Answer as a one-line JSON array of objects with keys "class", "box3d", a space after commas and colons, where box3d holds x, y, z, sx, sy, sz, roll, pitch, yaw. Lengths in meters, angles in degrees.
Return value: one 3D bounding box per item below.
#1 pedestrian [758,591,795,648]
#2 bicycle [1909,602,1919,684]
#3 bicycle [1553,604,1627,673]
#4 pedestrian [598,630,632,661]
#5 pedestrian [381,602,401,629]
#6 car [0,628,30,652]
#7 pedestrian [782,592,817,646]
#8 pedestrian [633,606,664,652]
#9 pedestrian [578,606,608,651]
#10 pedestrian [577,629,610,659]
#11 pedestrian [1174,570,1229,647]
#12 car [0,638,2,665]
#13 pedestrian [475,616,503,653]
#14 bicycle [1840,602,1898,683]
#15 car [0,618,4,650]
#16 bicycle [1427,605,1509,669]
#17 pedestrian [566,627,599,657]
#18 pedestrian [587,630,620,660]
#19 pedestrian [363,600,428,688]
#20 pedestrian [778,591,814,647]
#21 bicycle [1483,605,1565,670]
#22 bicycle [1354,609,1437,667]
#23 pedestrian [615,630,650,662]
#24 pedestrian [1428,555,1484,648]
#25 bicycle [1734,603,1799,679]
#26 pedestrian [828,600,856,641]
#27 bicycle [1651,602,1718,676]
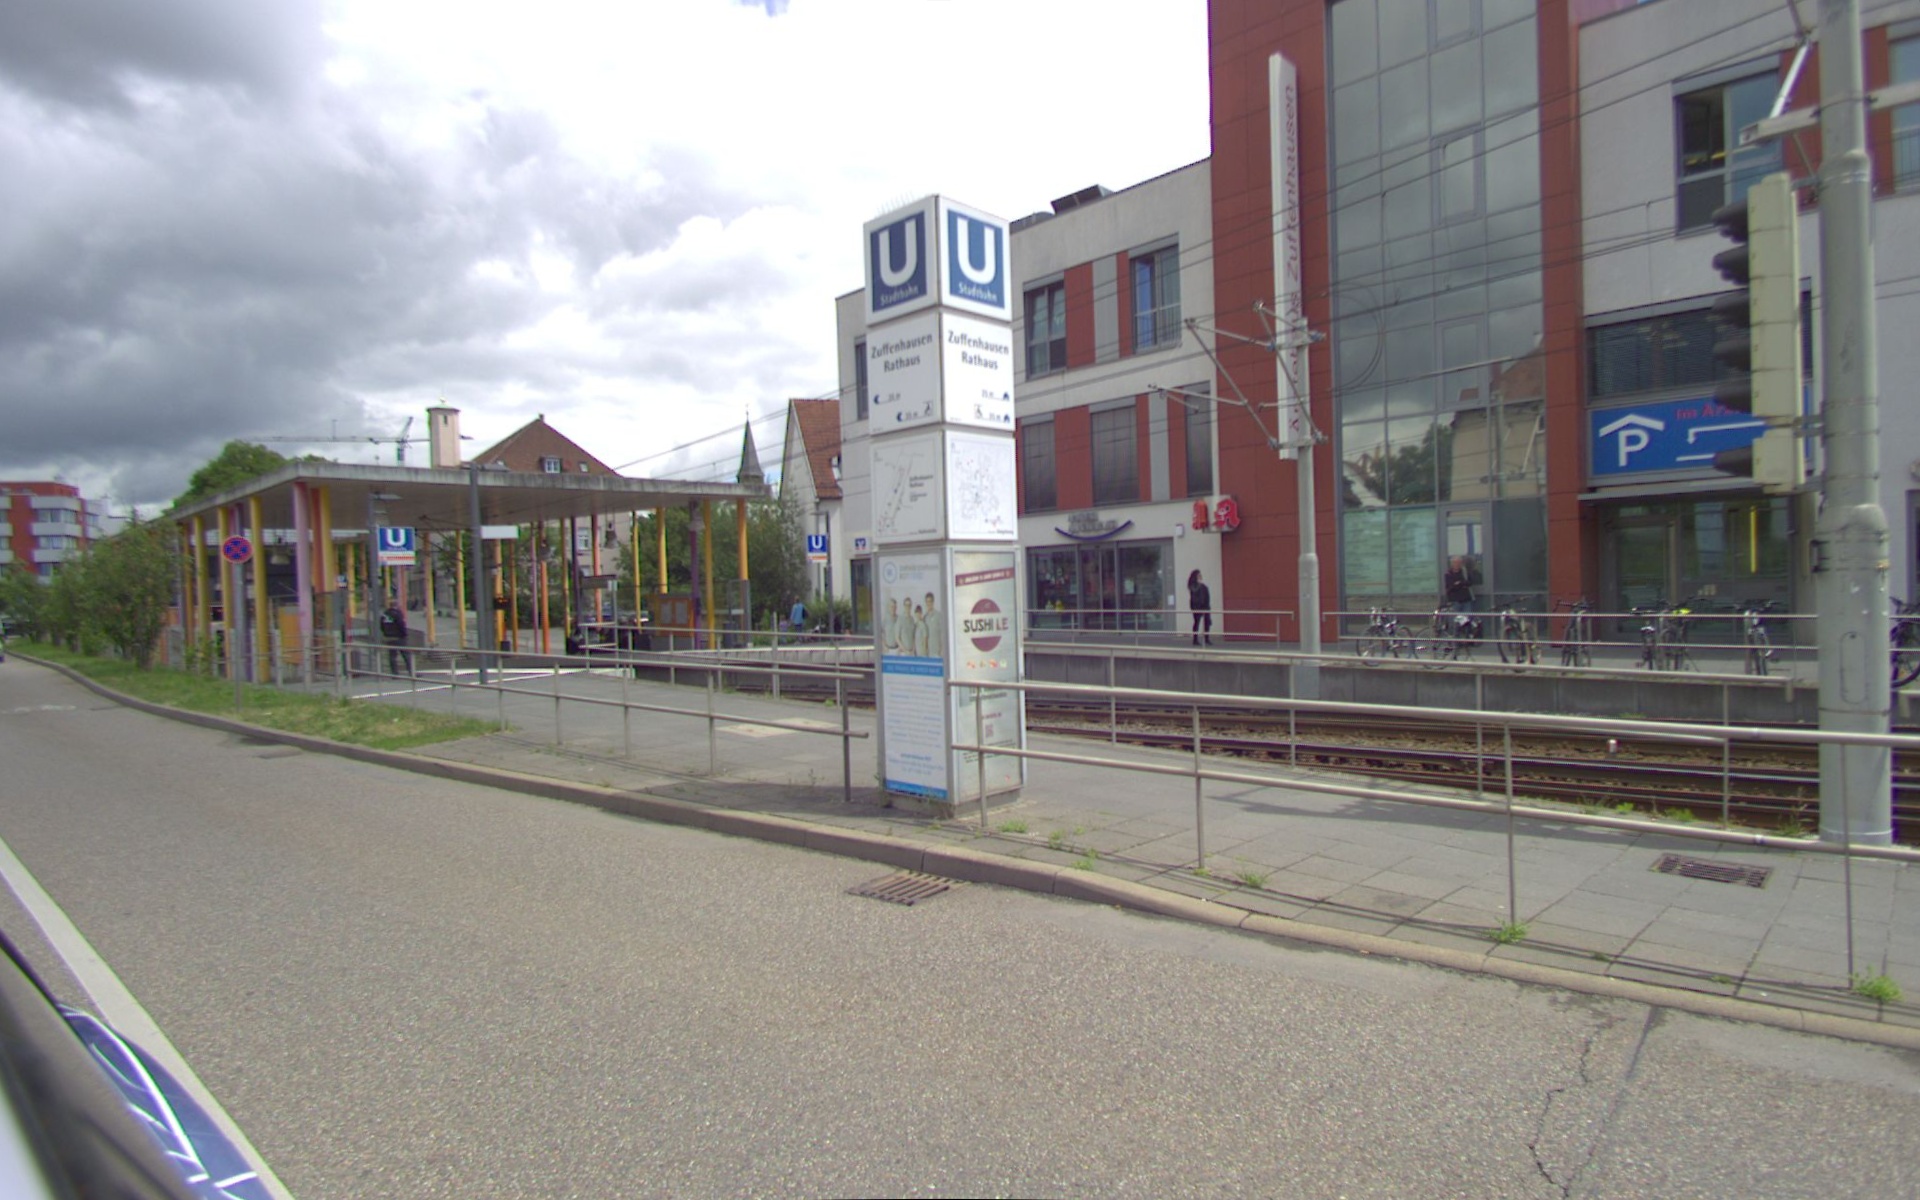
[{"class": "pedestrian", "box3d": [-6.537, 0.672, 35.999, 0.851, 1.983, 1.107, 0, -1, -41]}, {"class": "bicycle", "box3d": [12.373, 0.524, 12.816, 1.715, 0.959, 0.428, -2, 0, -44]}, {"class": "bicycle", "box3d": [9.518, 0.551, 15.263, 1.835, 0.946, 0.455, -2, 0, -42]}, {"class": "pedestrian", "box3d": [-13.153, 1.728, 38.614, 0.930, 1.143, 0.886, -1, -1, -45]}, {"class": "pedestrian", "box3d": [-42.630, 1.161, 75.788, 1.111, 2.029, 0.816, -1, -1, -42]}, {"class": "car", "box3d": [-73.318, 3.109, 78.269, 1.839, 1.719, 4.007, 0, 0, -39]}, {"class": "pedestrian", "box3d": [-6.011, 0.718, 37.892, 0.851, 1.983, 1.107, 0, -1, -41]}, {"class": "pedestrian", "box3d": [-13.690, 1.281, 44.460, 0.852, 1.983, 1.107, 0, -1, -44]}, {"class": "pedestrian", "box3d": [-16.451, 1.282, 45.345, 1.106, 1.983, 0.853, -1, -1, 42]}, {"class": "pedestrian", "box3d": [-14.498, 1.745, 40.030, 0.930, 1.143, 0.886, -1, -1, -45]}, {"class": "pedestrian", "box3d": [5.510, 0.196, 23.107, 0.775, 1.711, 0.938, 0, -1, -33]}, {"class": "car", "box3d": [-38.800, 1.785, 39.697, 3.948, 1.548, 1.567, -1, 3, 44]}, {"class": "pedestrian", "box3d": [-26.257, 1.931, 56.394, 1.111, 2.029, 1.180, -1, -1, -41]}, {"class": "bicycle", "box3d": [11.903, 0.528, 13.241, 1.715, 0.965, 0.428, -2, 0, -44]}, {"class": "car", "box3d": [-64.561, 2.253, 66.746, 1.968, 2.092, 4.007, 0, 0, -40]}, {"class": "bicycle", "box3d": [8.286, 0.577, 16.479, 1.834, 0.939, 0.455, -2, 0, -38]}, {"class": "pedestrian", "box3d": [-15.204, 1.695, 40.763, 0.930, 1.143, 0.886, -1, -1, -45]}, {"class": "pedestrian", "box3d": [-13.841, 1.736, 39.282, 0.930, 1.143, 0.886, -1, -1, -45]}, {"class": "pedestrian", "box3d": [-12.746, 0.960, 22.853, 0.865, 1.928, 1.090, -1, -1, 45]}, {"class": "pedestrian", "box3d": [-5.915, 0.669, 36.480, 0.851, 1.983, 1.107, 0, -1, -41]}, {"class": "bicycle", "box3d": [8.873, 0.569, 15.892, 1.834, 0.929, 0.455, -2, 0, -39]}, {"class": "bicycle", "box3d": [7.425, 0.622, 17.207, 1.834, 0.888, 0.455, -2, 0, -38]}, {"class": "pedestrian", "box3d": [-12.326, 1.719, 38.101, 0.930, 1.143, 0.886, -1, -1, -45]}, {"class": "pedestrian", "box3d": [10.144, 0.029, 20.729, 0.857, 1.859, 0.875, -1, 1, 15]}, {"class": "bicycle", "box3d": [11.101, 0.536, 13.905, 1.836, 0.942, 0.455, -2, 0, -44]}, {"class": "pedestrian", "box3d": [-5.877, 1.013, 50.440, 1.089, 1.983, 0.866, 0, -1, -43]}, {"class": "bicycle", "box3d": [10.446, 0.530, 14.571, 1.836, 0.970, 0.455, -2, 0, -44]}]
